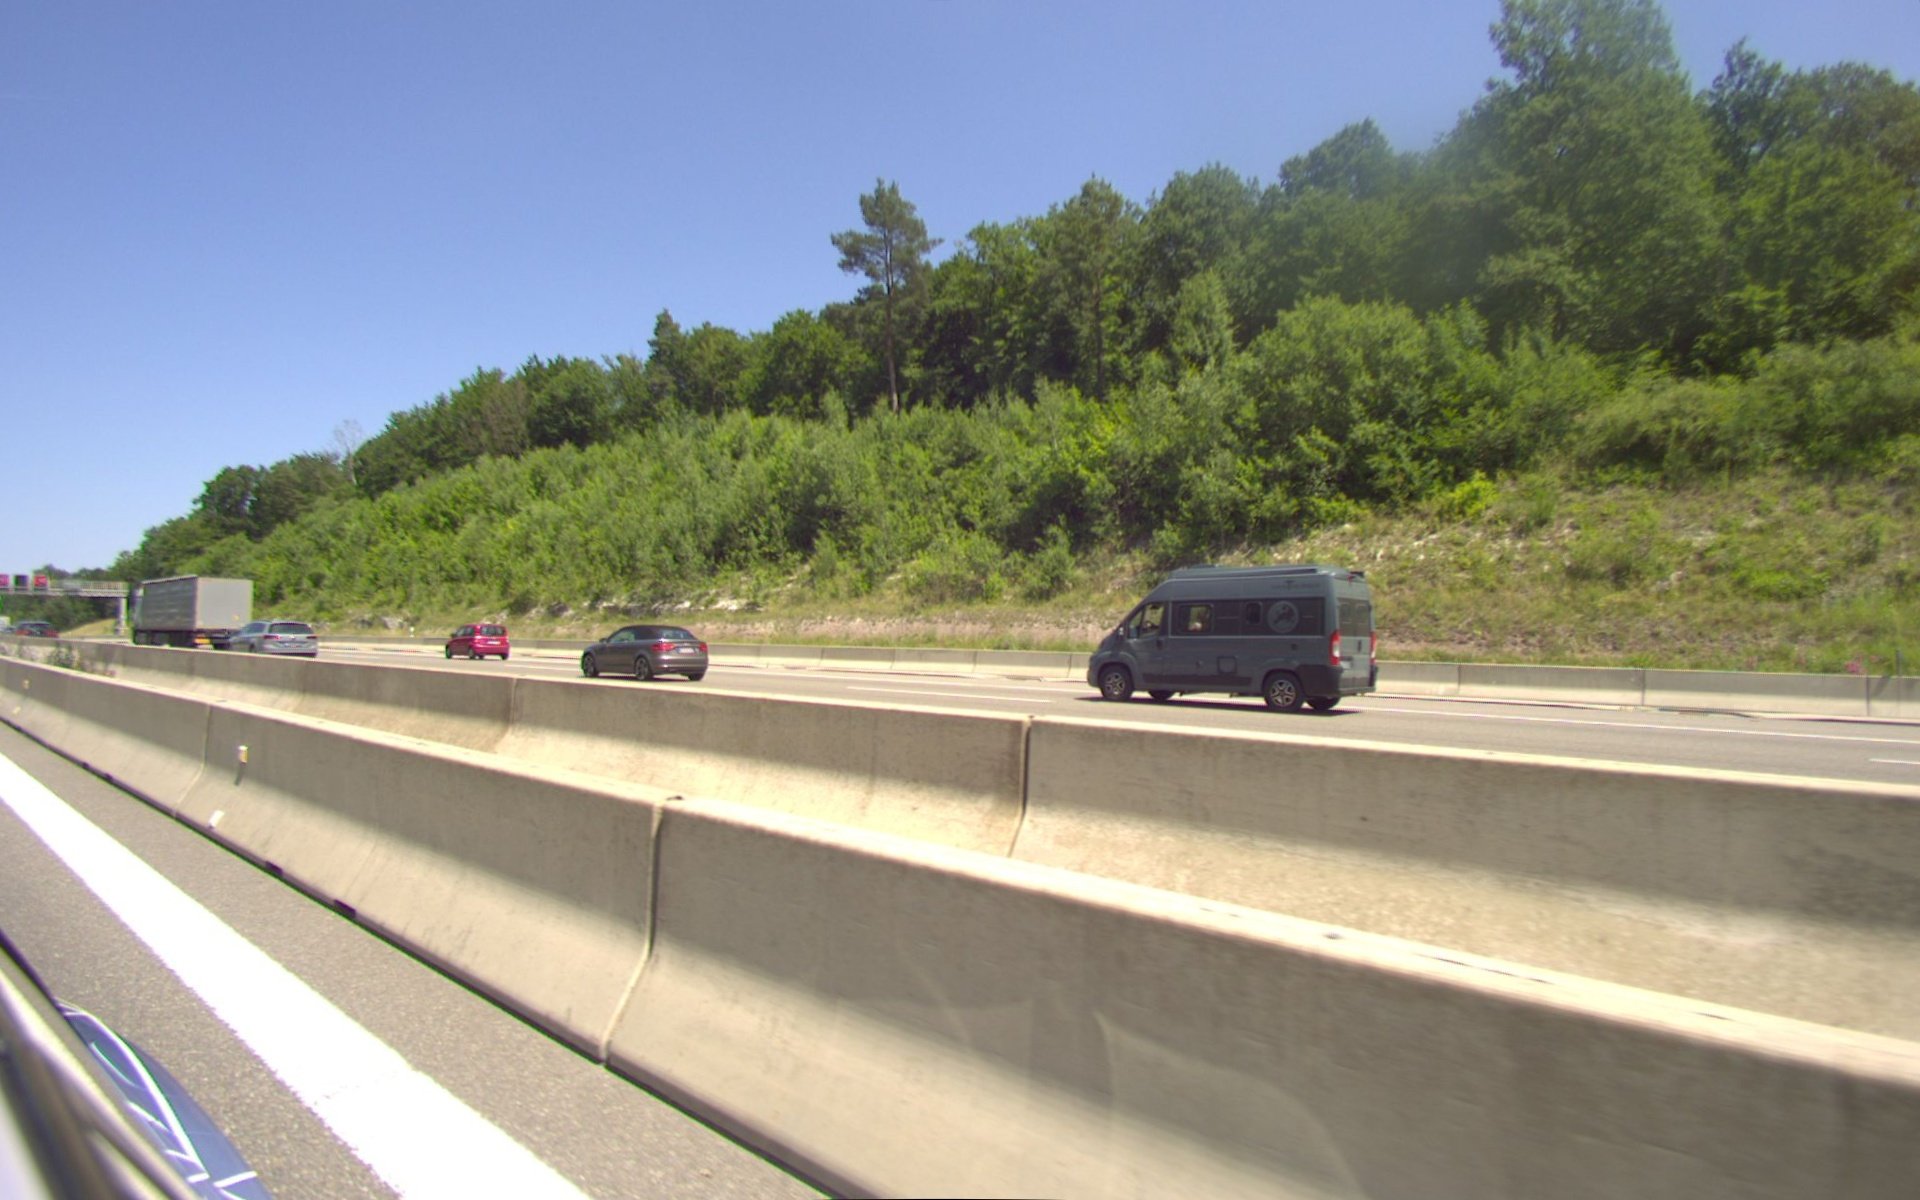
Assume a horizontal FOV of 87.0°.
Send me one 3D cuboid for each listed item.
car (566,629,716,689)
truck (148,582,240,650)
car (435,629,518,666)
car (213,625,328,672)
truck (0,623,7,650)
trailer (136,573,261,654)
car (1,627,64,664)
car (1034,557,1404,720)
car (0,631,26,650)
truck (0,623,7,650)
[{"bbox_3d":[-8.308,1.457,26.182,4.437,1.418,1.650,-1,-2,41],"label":"car"},{"bbox_3d":[-48.148,1.060,63.564,6.794,4.013,3.231,-1,-2,41],"label":"truck"},{"bbox_3d":[-20.679,1.990,43.243,3.718,1.512,1.851,-1,-2,41],"label":"car"},{"bbox_3d":[-23.908,1.620,34.997,5.439,1.517,2.006,-1,-2,42],"label":"car"},{"bbox_3d":[-151.204,5.691,157.749,9.859,4.261,2.881,-2,-2,42],"label":"truck"},{"bbox_3d":[-44.713,0.894,59.117,13.835,4.286,3.067,-1,-3,42],"label":"trailer"},{"bbox_3d":[-46.609,2.253,50.830,4.466,1.791,1.851,-1,-2,41],"label":"car"},{"bbox_3d":[4.785,0.722,19.695,6.776,2.684,2.118,-1,-3,41],"label":"car"},{"bbox_3d":[-80.179,3.391,84.989,5.052,1.560,1.663,-1,-2,38],"label":"car"},{"bbox_3d":[-150.553,5.673,157.423,8.412,4.261,2.631,-2,-2,43],"label":"truck"}]
